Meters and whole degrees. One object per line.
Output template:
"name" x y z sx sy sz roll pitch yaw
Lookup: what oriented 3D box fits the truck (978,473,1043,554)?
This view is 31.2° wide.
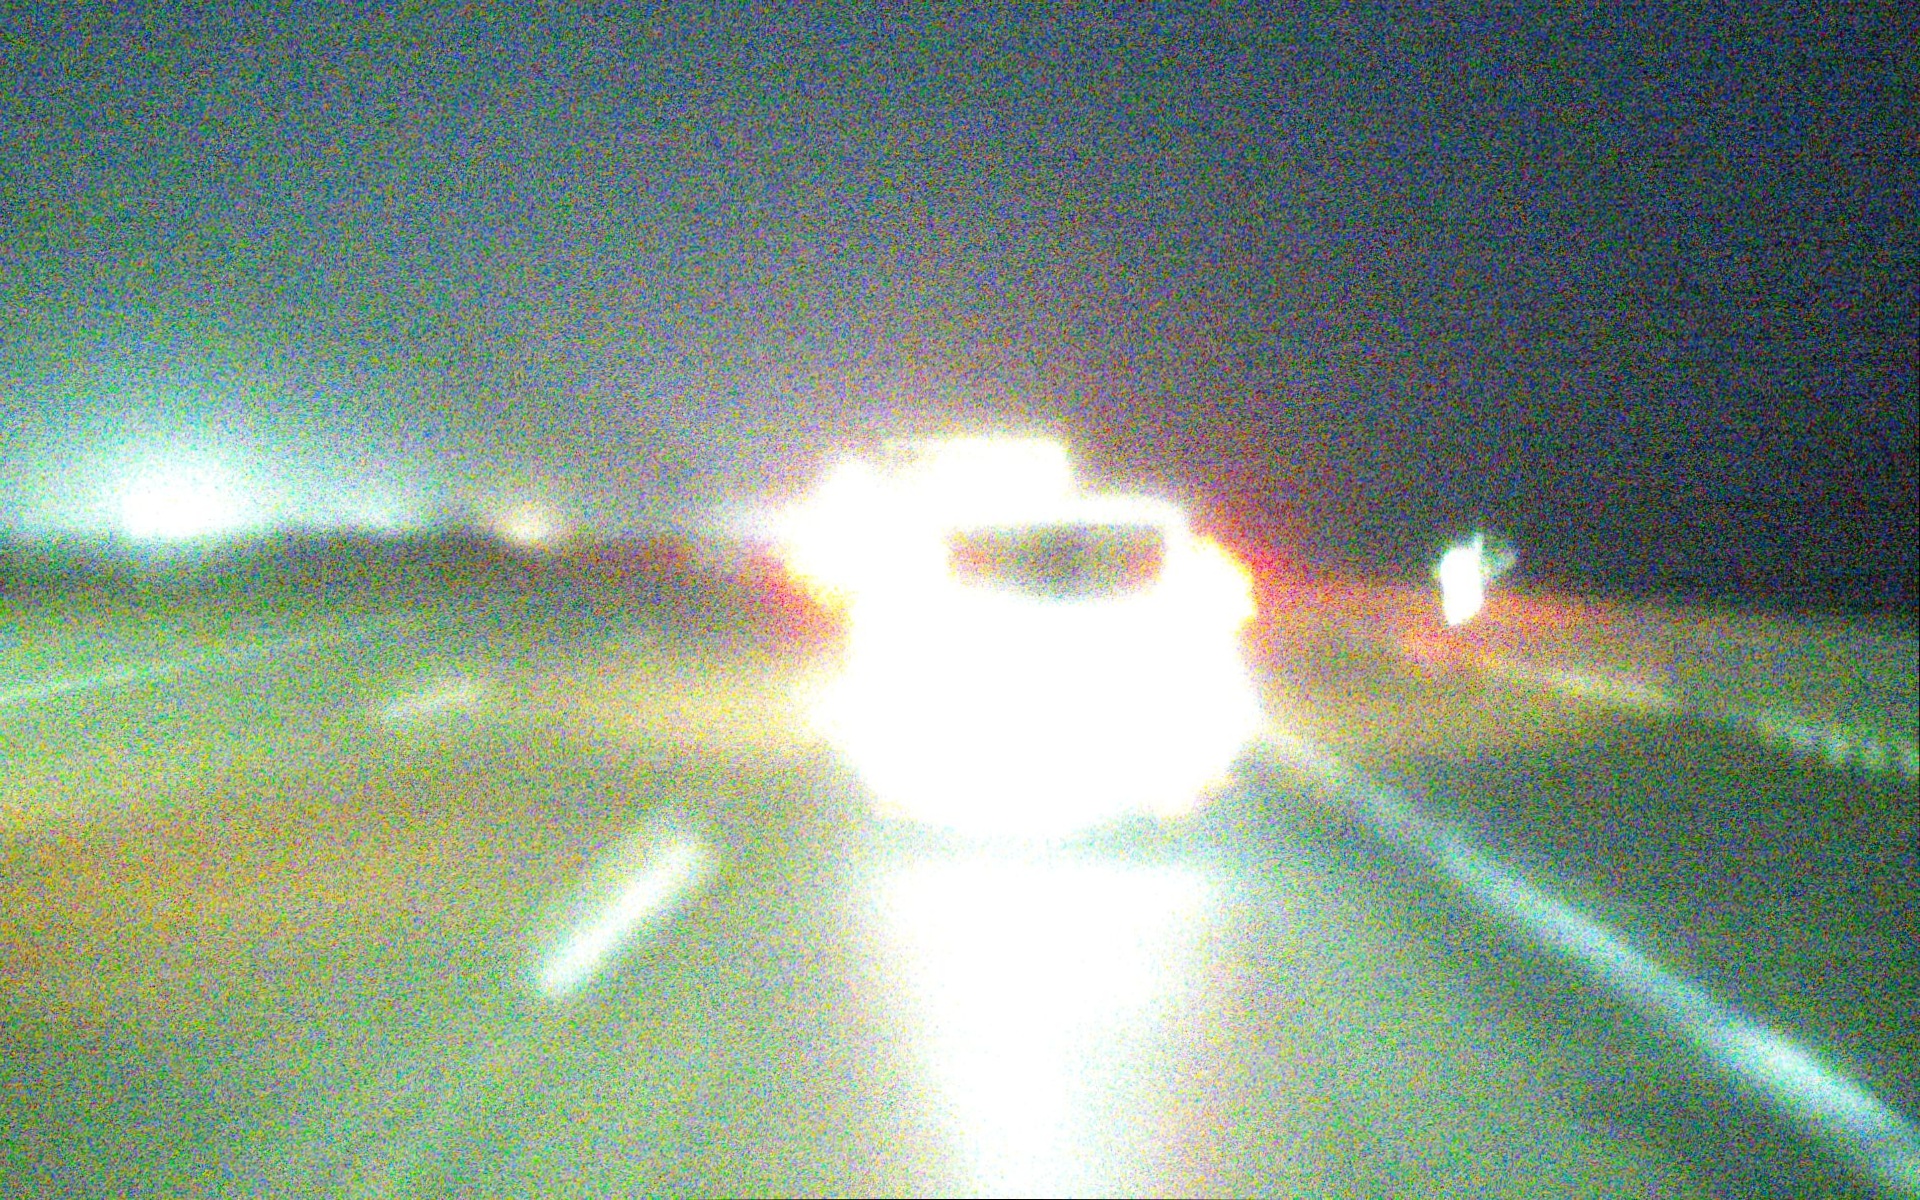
"truck" 3.196 -5.478 220.797 3.824 4.898 11.606 1 0 0

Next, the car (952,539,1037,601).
"car" 0.831 -0.757 84.560 1.890 1.349 4.000 4 1 -1

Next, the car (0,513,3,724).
"car" -3.816 0.536 8.110 1.916 1.589 4.233 1 0 0

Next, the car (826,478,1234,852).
"car" 0.292 0.296 19.236 1.953 1.786 5.124 1 0 -1

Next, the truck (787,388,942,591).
"truck" -2.652 -3.079 100.931 4.167 5.525 13.074 1 0 0
